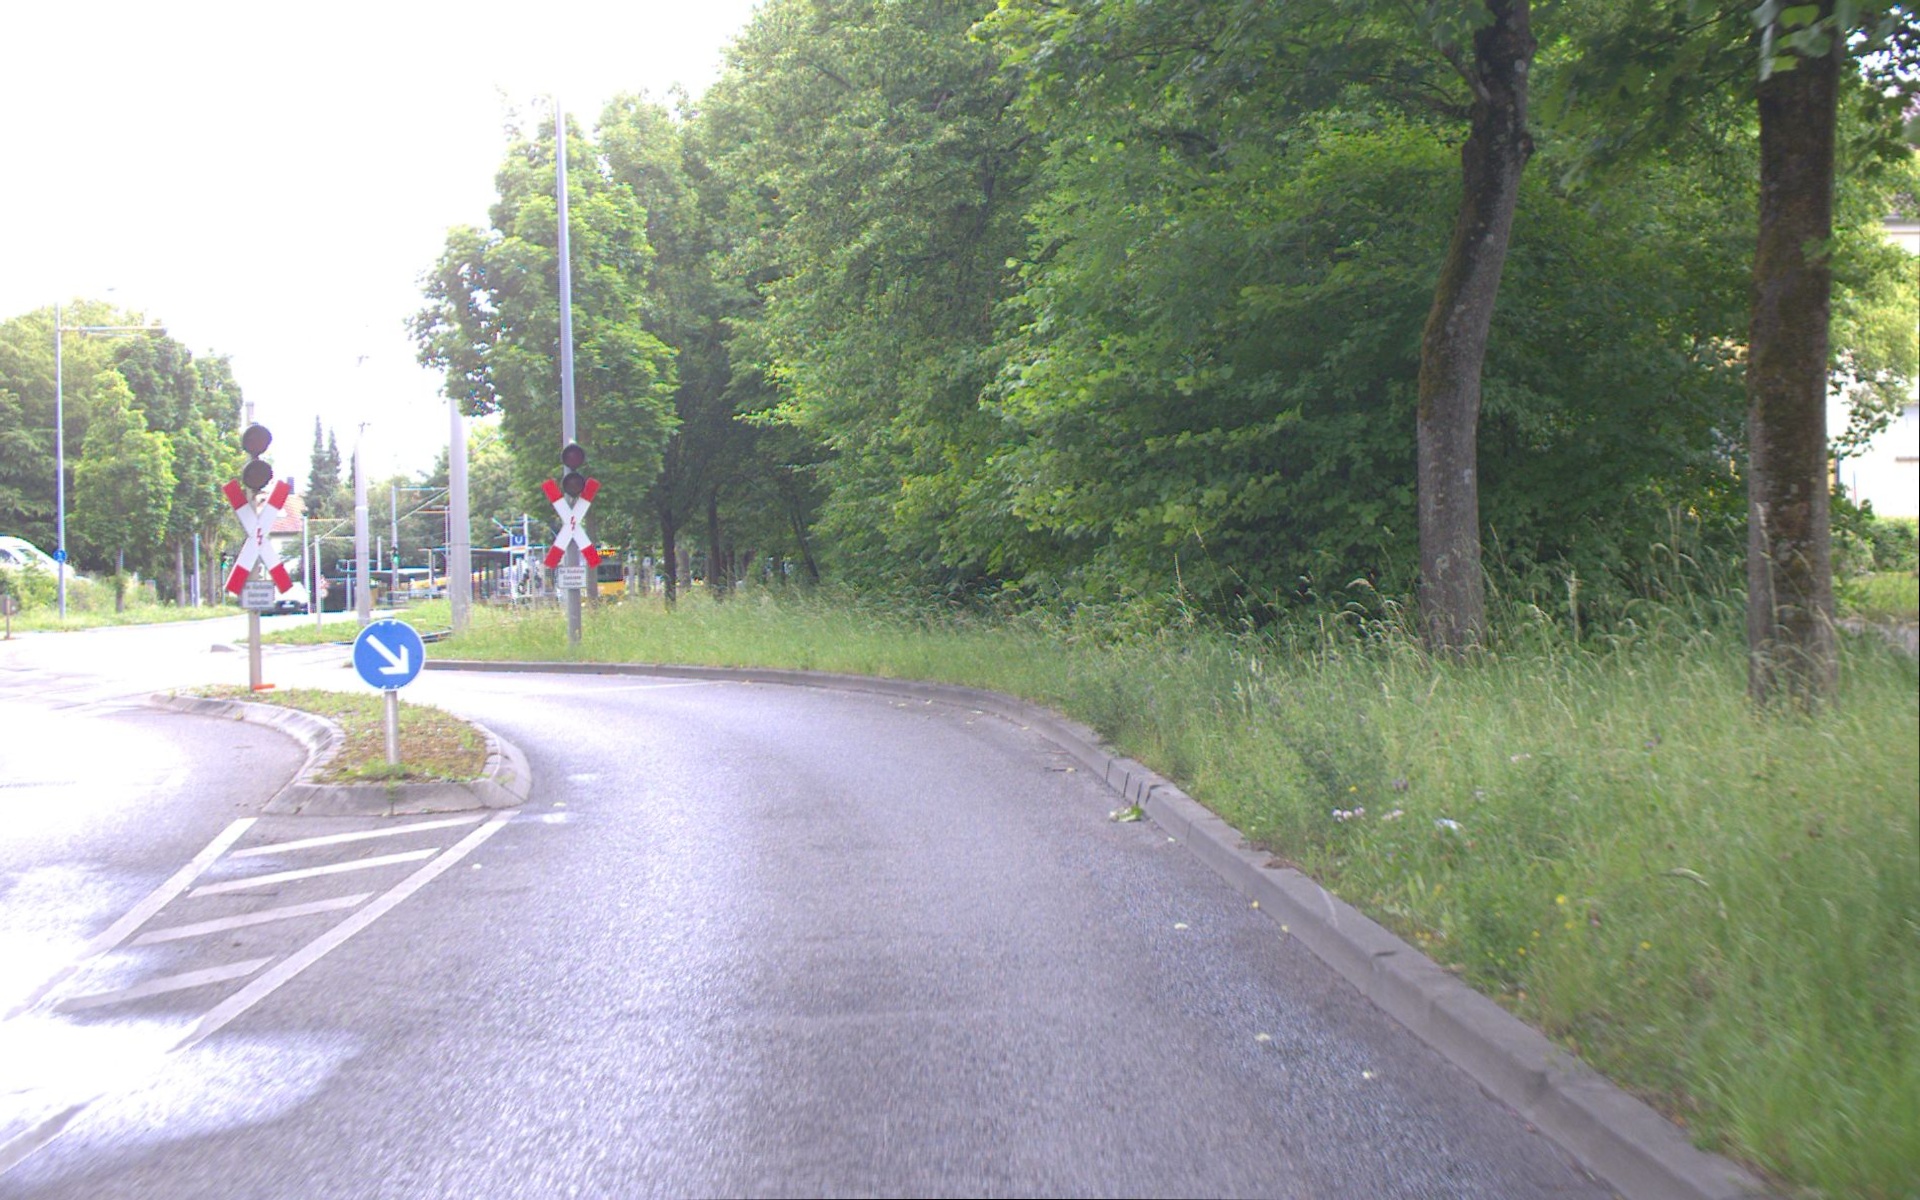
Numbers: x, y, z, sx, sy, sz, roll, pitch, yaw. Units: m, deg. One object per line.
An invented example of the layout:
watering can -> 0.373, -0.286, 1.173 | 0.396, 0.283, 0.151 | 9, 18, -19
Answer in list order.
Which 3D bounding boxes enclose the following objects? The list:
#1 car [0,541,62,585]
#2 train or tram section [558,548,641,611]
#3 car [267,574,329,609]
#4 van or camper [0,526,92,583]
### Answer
car -> -37.249, -1.405, 132.620 | 4.642, 1.650, 2.000 | -1, 0, 2
train or tram section -> -20.827, -1.150, 196.447 | 3.007, 3.299, 34.718 | 0, 0, -9
car -> -29.414, -0.408, 152.852 | 1.993, 1.433, 4.426 | -2, 1, -2
van or camper -> -37.023, -1.787, 135.273 | 5.332, 2.195, 2.000 | 0, 0, -6
